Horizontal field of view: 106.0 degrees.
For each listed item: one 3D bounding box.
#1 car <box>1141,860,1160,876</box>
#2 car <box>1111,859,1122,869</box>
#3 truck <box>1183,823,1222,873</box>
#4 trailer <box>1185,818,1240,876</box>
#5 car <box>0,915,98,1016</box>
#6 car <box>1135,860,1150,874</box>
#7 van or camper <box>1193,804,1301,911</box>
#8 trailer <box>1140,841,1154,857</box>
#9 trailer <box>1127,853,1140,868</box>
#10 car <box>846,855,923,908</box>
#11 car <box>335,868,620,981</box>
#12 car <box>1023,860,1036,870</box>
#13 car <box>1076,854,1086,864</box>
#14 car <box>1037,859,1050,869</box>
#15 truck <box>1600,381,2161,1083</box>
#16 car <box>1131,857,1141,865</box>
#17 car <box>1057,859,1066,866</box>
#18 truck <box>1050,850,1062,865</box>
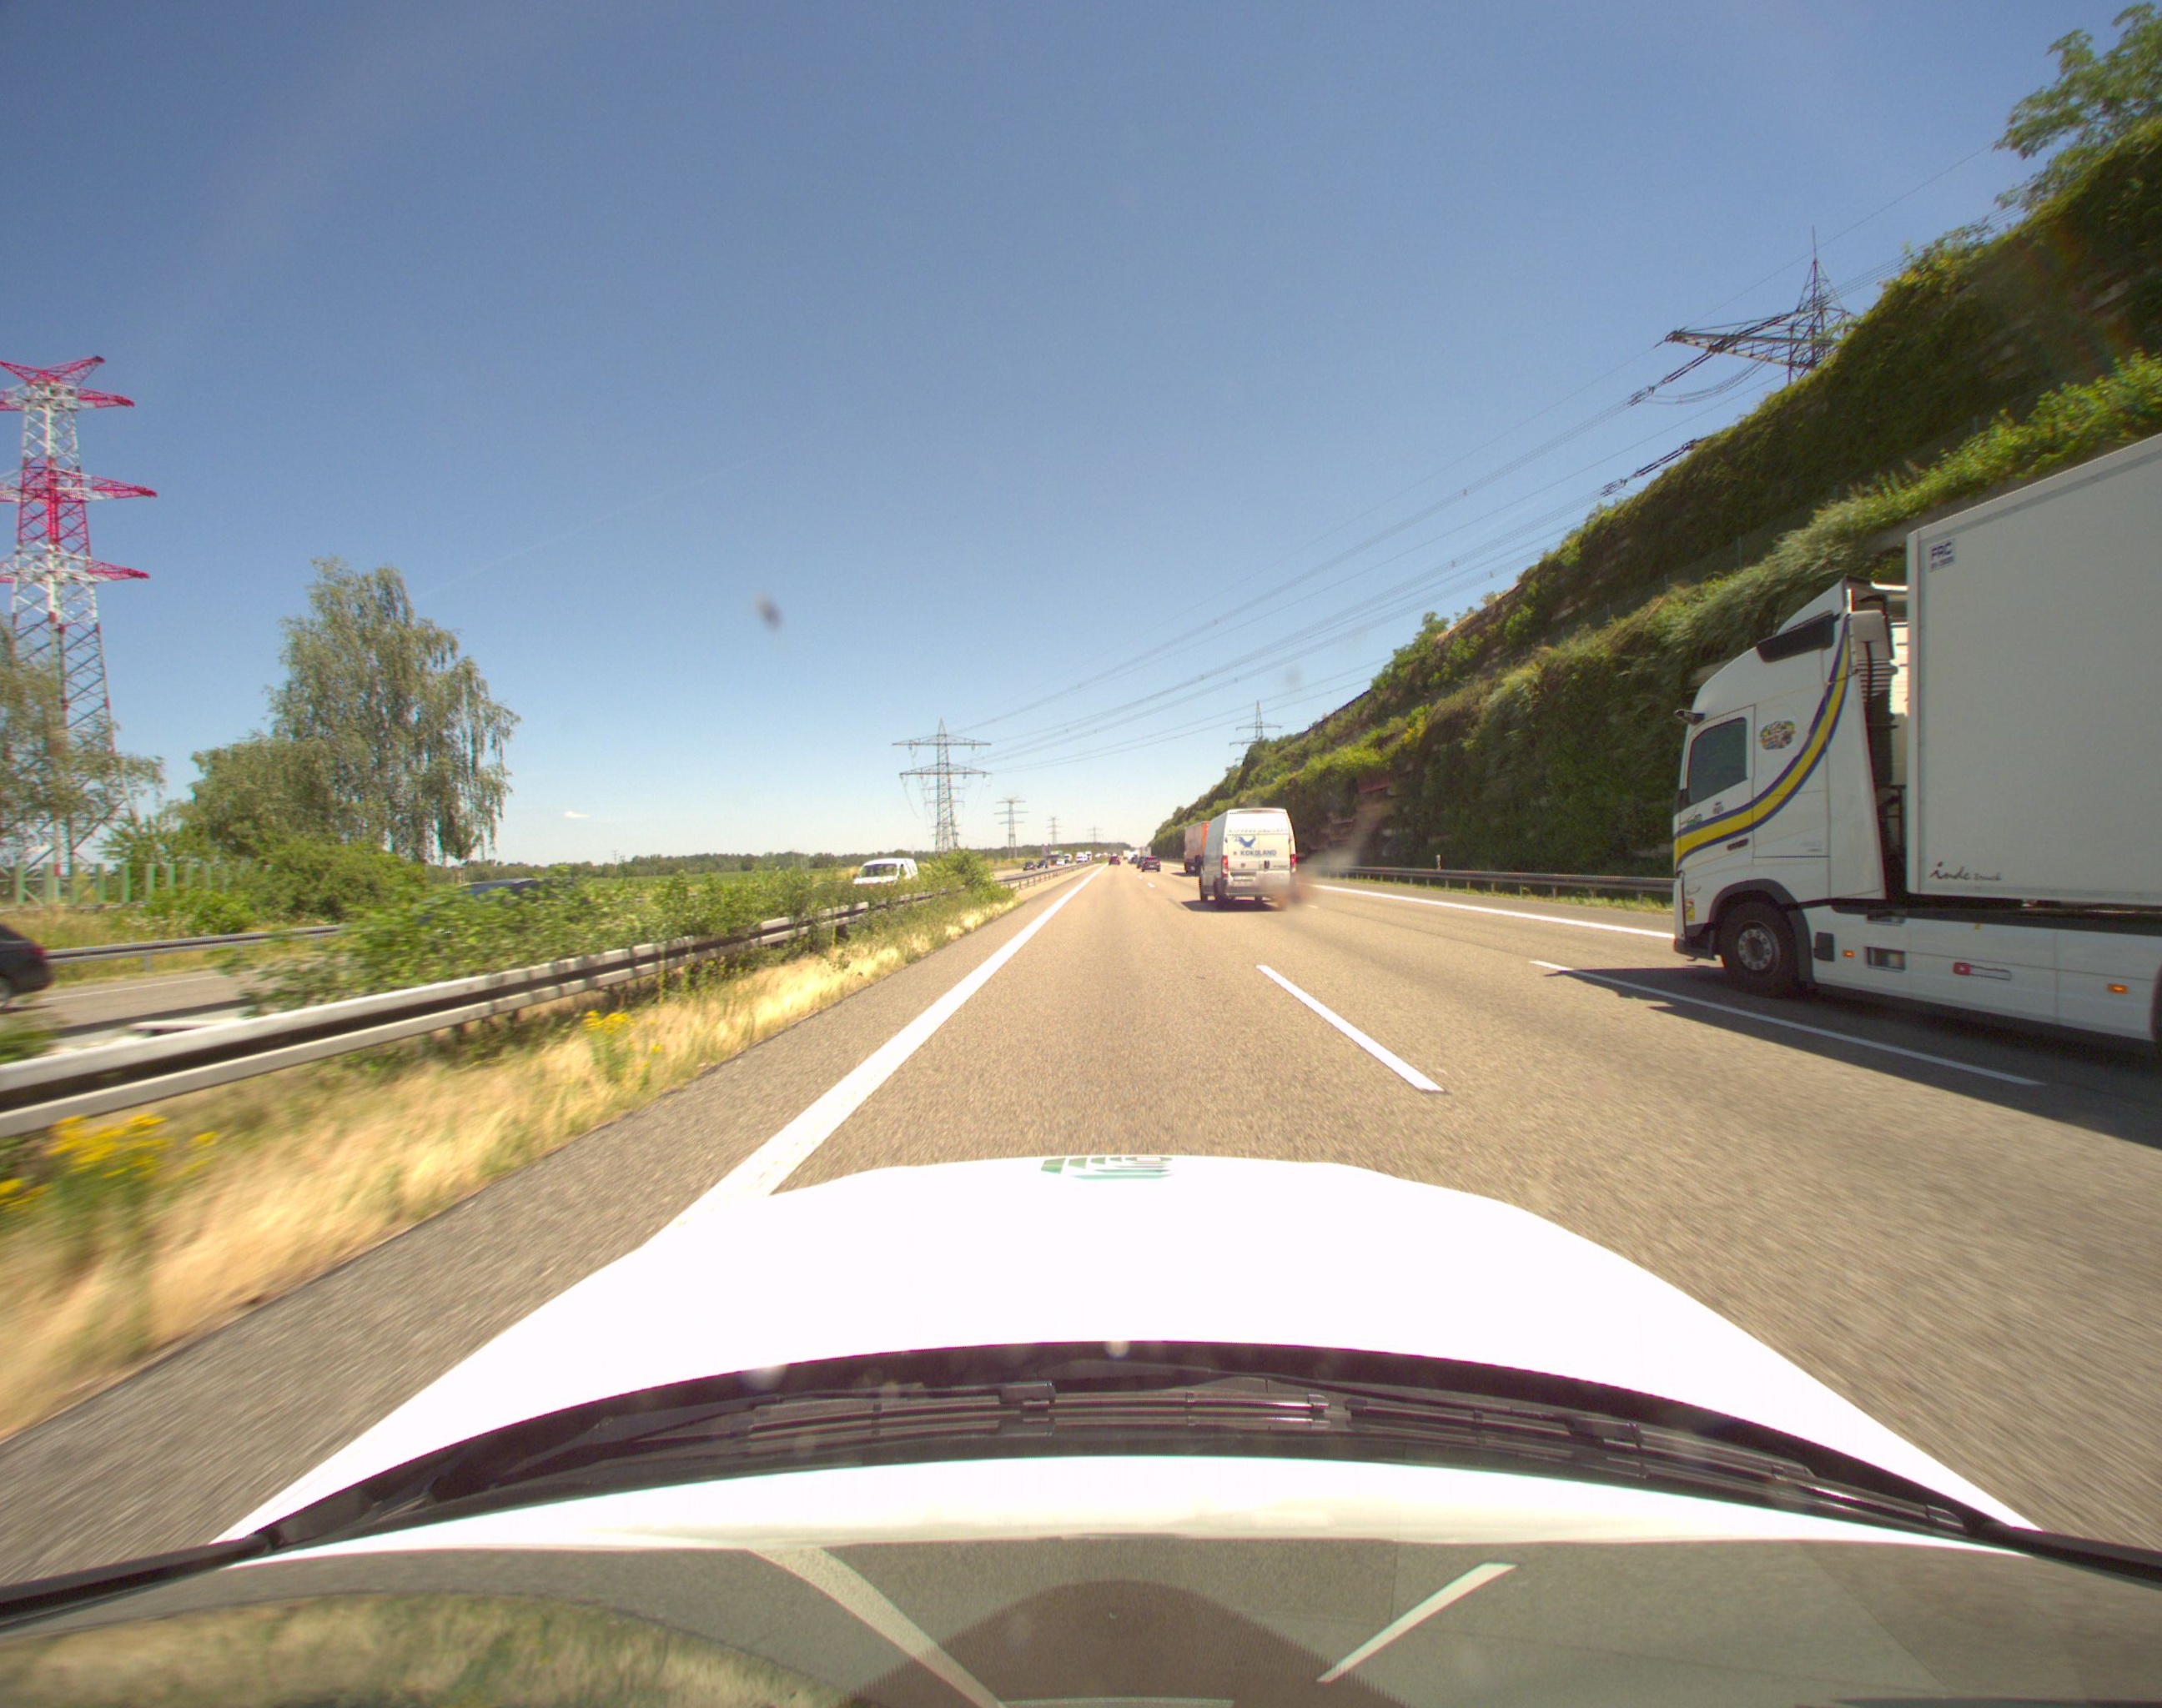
[{"bbox_3d":[7.002,1.396,82.135,1.742,1.525,3.997,-2,0,2],"label":"car"},{"bbox_3d":[6.318,1.708,145.877,1.822,1.670,4.003,-2,0,3],"label":"car"},{"bbox_3d":[10.409,-0.489,70.558,2.607,3.992,6.531,-2,0,3],"label":"truck"},{"bbox_3d":[10.066,-0.496,63.708,2.634,4.005,13.615,-1,0,3],"label":"trailer"},{"bbox_3d":[-17.185,1.765,11.129,1.535,1.449,4.800,-3,0,2],"label":"car"},{"bbox_3d":[7.969,1.639,104.997,1.787,1.653,4.141,-2,0,3],"label":"car"},{"bbox_3d":[4.856,0.105,24.954,2.088,2.769,6.760,-1,0,2],"label":"van or camper"},{"bbox_3d":[17.876,-1.231,220.769,3.170,4.121,13.442,-2,0,3],"label":"trailer"},{"bbox_3d":[11.650,1.449,182.060,2.600,3.213,9.958,-2,0,3],"label":"trailer"},{"bbox_3d":[-7.798,1.038,32.798,1.756,1.925,4.772,-2,0,1],"label":"car"},{"bbox_3d":[-11.652,1.244,16.315,1.782,1.765,5.019,-2,0,2],"label":"car"},{"bbox_3d":[-8.079,1.720,128.686,1.612,1.460,4.284,-5,0,1],"label":"car"},{"bbox_3d":[0.024,1.319,213.473,2.100,2.298,6.710,-3,0,2],"label":"car"},{"bbox_3d":[-7.069,1.922,153.555,1.833,1.629,4.416,-5,0,2],"label":"car"},{"bbox_3d":[7.879,-0.740,7.313,2.498,4.220,6.259,-2,-1,2],"label":"truck"},{"bbox_3d":[10.590,1.289,157.685,1.822,1.525,4.004,-2,0,4],"label":"car"},{"bbox_3d":[-4.843,2.025,202.946,1.701,1.524,4.516,-5,0,2],"label":"car"},{"bbox_3d":[-7.064,1.085,231.403,2.688,4.134,6.584,-3,0,2],"label":"truck"}]
